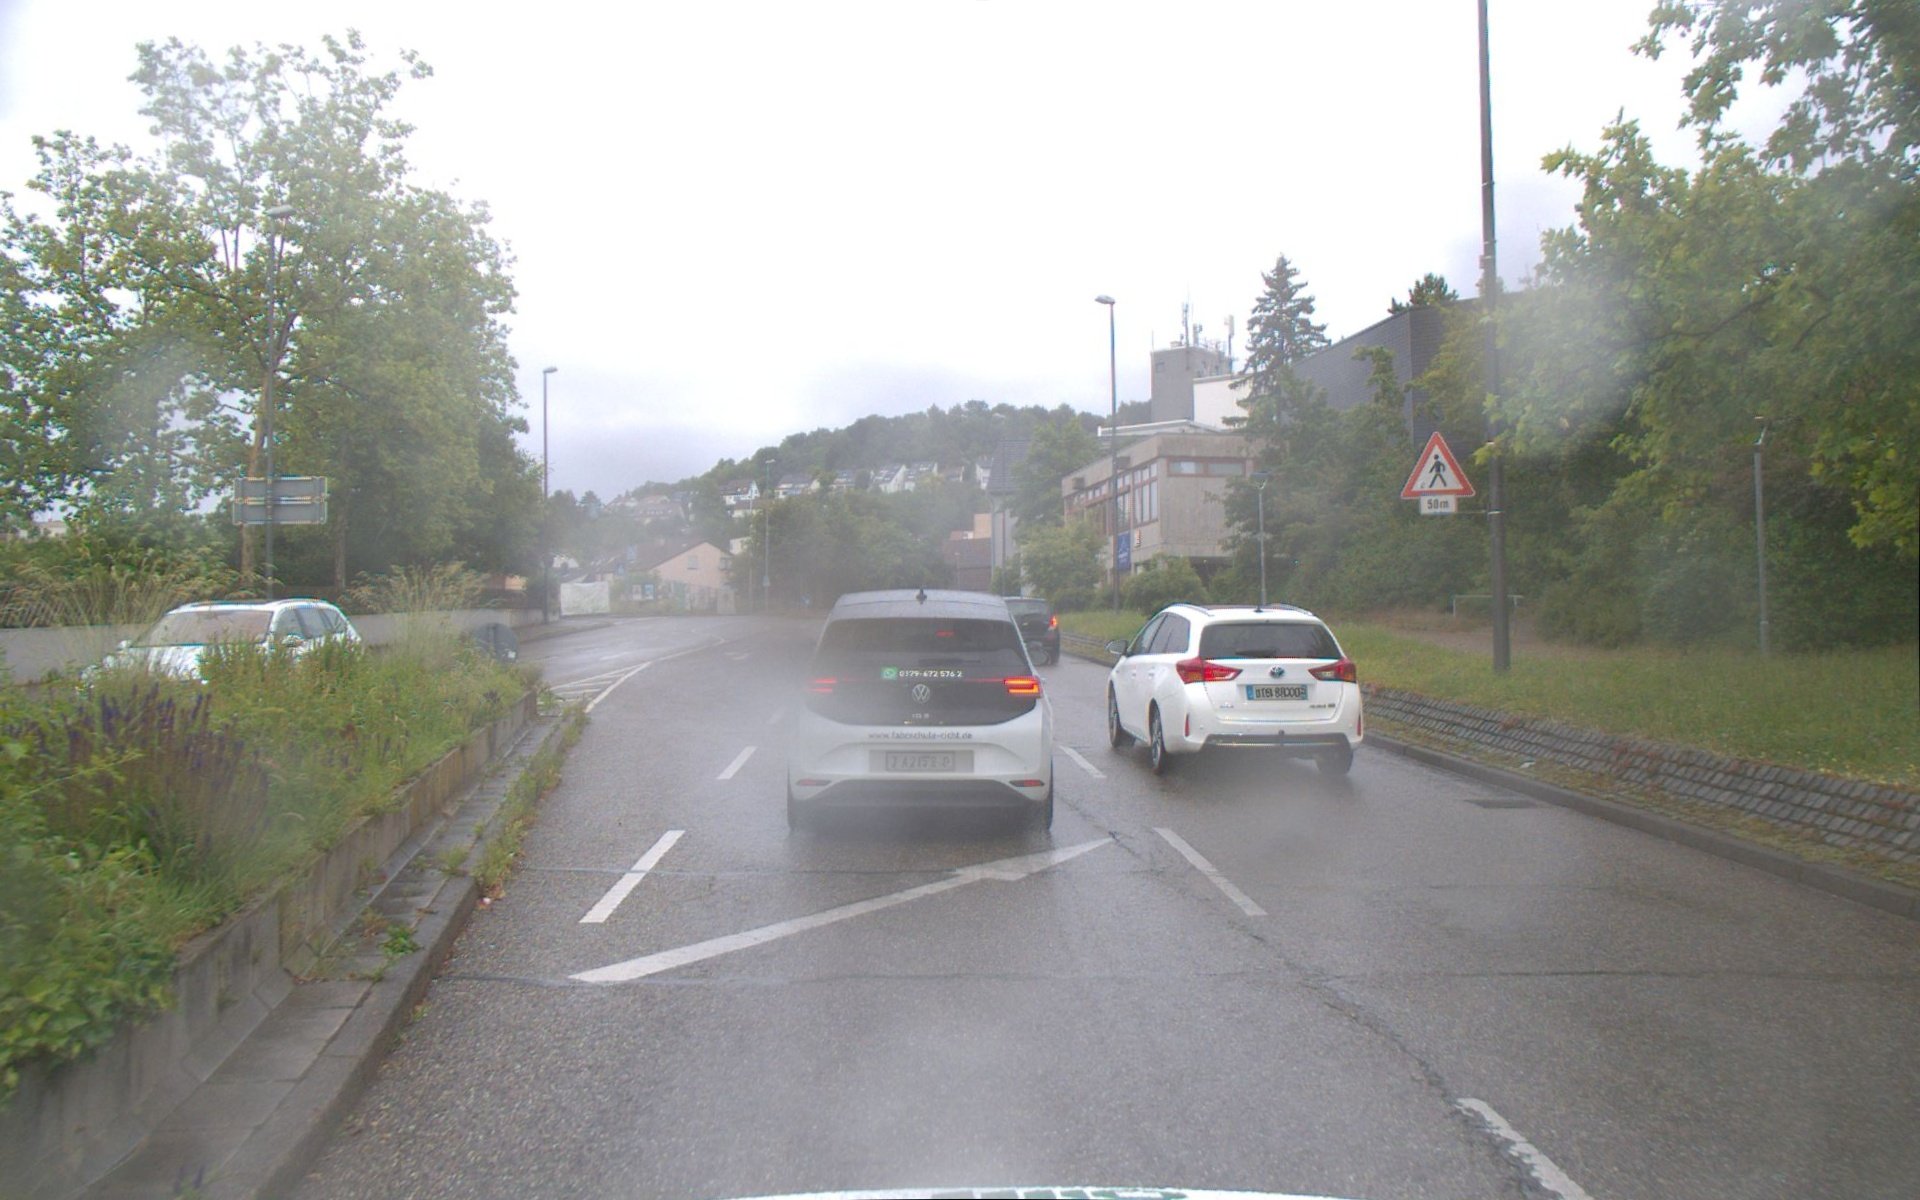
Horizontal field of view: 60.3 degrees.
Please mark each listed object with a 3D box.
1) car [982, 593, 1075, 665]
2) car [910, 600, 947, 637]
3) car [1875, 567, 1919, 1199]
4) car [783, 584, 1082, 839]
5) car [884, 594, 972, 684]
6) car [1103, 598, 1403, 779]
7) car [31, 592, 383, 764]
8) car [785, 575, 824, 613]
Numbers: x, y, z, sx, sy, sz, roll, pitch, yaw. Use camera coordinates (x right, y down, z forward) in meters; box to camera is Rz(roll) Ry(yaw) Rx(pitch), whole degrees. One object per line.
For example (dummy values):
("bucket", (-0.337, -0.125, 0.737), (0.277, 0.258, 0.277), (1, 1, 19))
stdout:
("car", (1.532, 0.660, 38.196), (1.953, 1.478, 3.770), (-3, -1, 0))
("car", (-1.754, 1.057, 93.866), (1.953, 2.049, 4.000), (1, -1, 0))
("car", (3.323, 0.696, 1.860), (1.915, 1.534, 4.606), (2, -1, -2))
("car", (-0.157, 0.698, 12.036), (1.791, 1.526, 4.168), (0, -1, 0))
("car", (-0.644, 0.673, 30.974), (1.536, 1.557, 3.998), (0, 0, -2))
("car", (2.520, 0.738, 15.317), (1.811, 1.434, 4.298), (0, -1, -3))
("car", (-8.361, 0.795, 18.907), (1.953, 1.691, 4.597), (-1, 0, -1))
("car", (-8.938, -0.316, 95.073), (1.953, 2.049, 3.998), (1, -1, -2))
